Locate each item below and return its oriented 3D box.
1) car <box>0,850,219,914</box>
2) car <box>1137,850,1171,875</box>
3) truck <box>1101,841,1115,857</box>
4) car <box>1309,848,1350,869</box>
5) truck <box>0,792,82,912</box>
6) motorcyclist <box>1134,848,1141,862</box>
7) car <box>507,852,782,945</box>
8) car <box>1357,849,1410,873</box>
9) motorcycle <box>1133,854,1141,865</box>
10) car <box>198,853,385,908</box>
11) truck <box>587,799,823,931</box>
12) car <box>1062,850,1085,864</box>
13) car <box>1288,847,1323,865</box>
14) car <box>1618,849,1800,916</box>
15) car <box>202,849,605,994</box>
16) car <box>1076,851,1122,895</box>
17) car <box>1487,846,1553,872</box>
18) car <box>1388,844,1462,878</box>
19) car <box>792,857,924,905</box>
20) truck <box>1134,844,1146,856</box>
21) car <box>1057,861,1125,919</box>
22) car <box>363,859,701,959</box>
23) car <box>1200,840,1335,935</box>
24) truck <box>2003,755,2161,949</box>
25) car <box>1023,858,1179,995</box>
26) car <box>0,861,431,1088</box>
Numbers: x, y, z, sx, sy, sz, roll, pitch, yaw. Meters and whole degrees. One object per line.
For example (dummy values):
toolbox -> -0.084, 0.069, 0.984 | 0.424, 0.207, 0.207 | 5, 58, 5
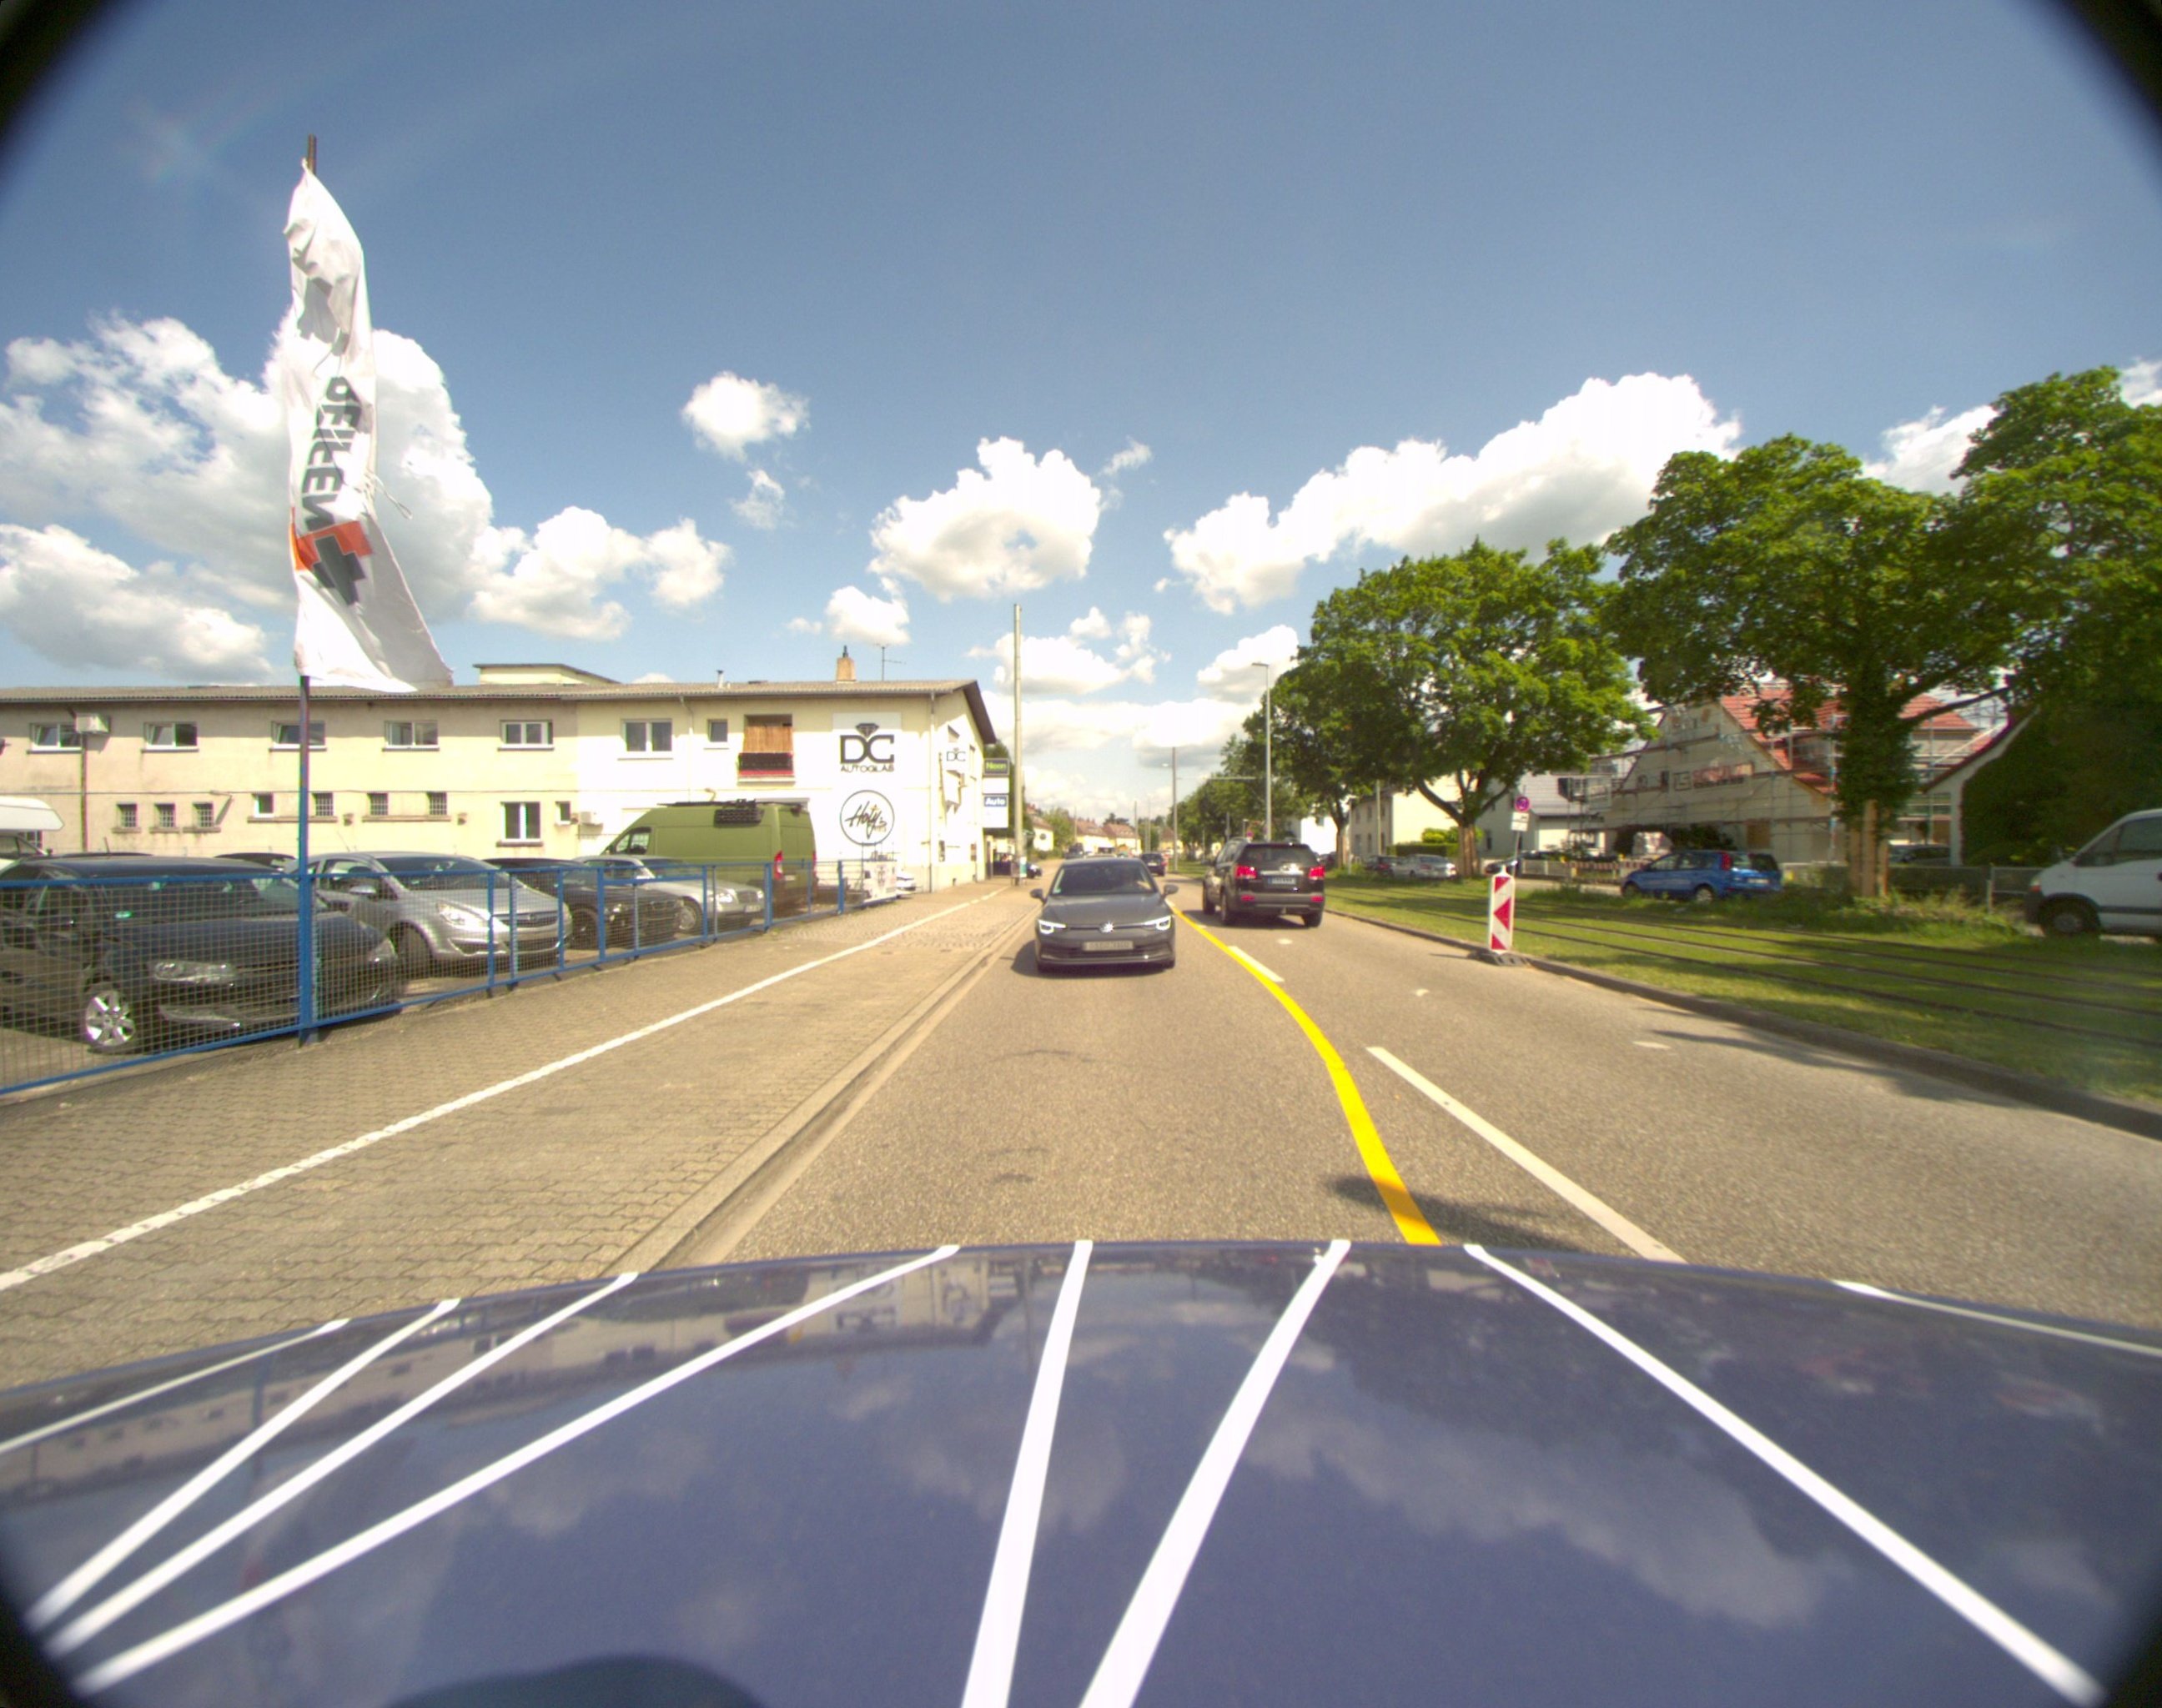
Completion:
car -> -24.288, 0.644, 19.051 | 1.426, 1.371, 3.327 | -2, 1, 2
car -> 4.560, 0.498, 48.075 | 1.715, 1.478, 4.535 | 1, 1, 0
truck -> 5.165, -1.056, 145.334 | 2.632, 2.872, 7.923 | -2, 1, 2
car -> 17.541, 0.271, 53.808 | 1.636, 1.294, 3.999 | -2, 1, 2
truck -> -27.905, -0.059, 17.835 | 2.159, 2.992, 5.086 | 1, 1, 1
motorcyclist -> 5.538, 0.100, 75.047 | 0.651, 1.434, 0.588 | 0, 2, 2
car -> -8.200, 0.812, 14.448 | 4.257, 1.499, 1.828 | -2, 1, 9
car -> 17.451, 0.365, 43.969 | 1.624, 1.235, 3.786 | -2, 1, 2
motorcycle -> 5.512, 0.500, 74.970 | 0.706, 1.036, 2.465 | 0, 1, 2
car -> -20.976, 0.652, 20.386 | 1.453, 1.255, 3.276 | -2, 1, 2
truck -> -8.393, 0.224, 17.276 | 4.181, 2.645, 2.108 | -2, 1, 3
car -> -0.781, 0.317, 80.491 | 1.823, 1.412, 4.002 | 0, 1, 7
car -> 17.639, 0.151, 59.805 | 1.636, 1.294, 3.999 | -2, 1, 2
car -> 16.649, 0.680, 20.419 | 1.672, 1.504, 3.930 | -2, 1, 1
car -> -8.505, 0.788, 9.607 | 4.254, 1.496, 1.829 | -2, 1, 18
car -> 0.682, 0.674, 29.038 | 1.594, 1.418, 3.707 | -2, 1, 2
car -> 25.460, 0.277, 44.075 | 3.237, 1.375, 1.490 | -2, 2, 31
car -> 17.127, 0.312, 38.058 | 1.707, 1.504, 4.523 | -2, 1, 1
car -> -7.152, 0.853, 24.559 | 3.725, 1.350, 1.518 | -2, 1, 5
truck -> 14.830, -1.072, 191.145 | 2.665, 2.787, 7.539 | -2, 1, 4
car -> 0.311, 0.887, 19.905 | 1.554, 1.217, 3.729 | -2, 1, 2
car -> -8.549, 0.838, 12.015 | 4.257, 1.366, 1.741 | -1, 1, 8
car -> 3.687, 0.588, 15.783 | 1.801, 1.680, 4.221 | 1, 1, 1
truck -> 16.696, -0.053, 9.847 | 2.370, 2.789, 5.950 | -2, 1, 2
car -> 0.310, 0.844, 10.894 | 1.743, 1.410, 4.381 | -2, 1, 2
car -> -7.917, 0.845, 6.580 | 3.901, 1.454, 1.627 | 1, 2, 18
